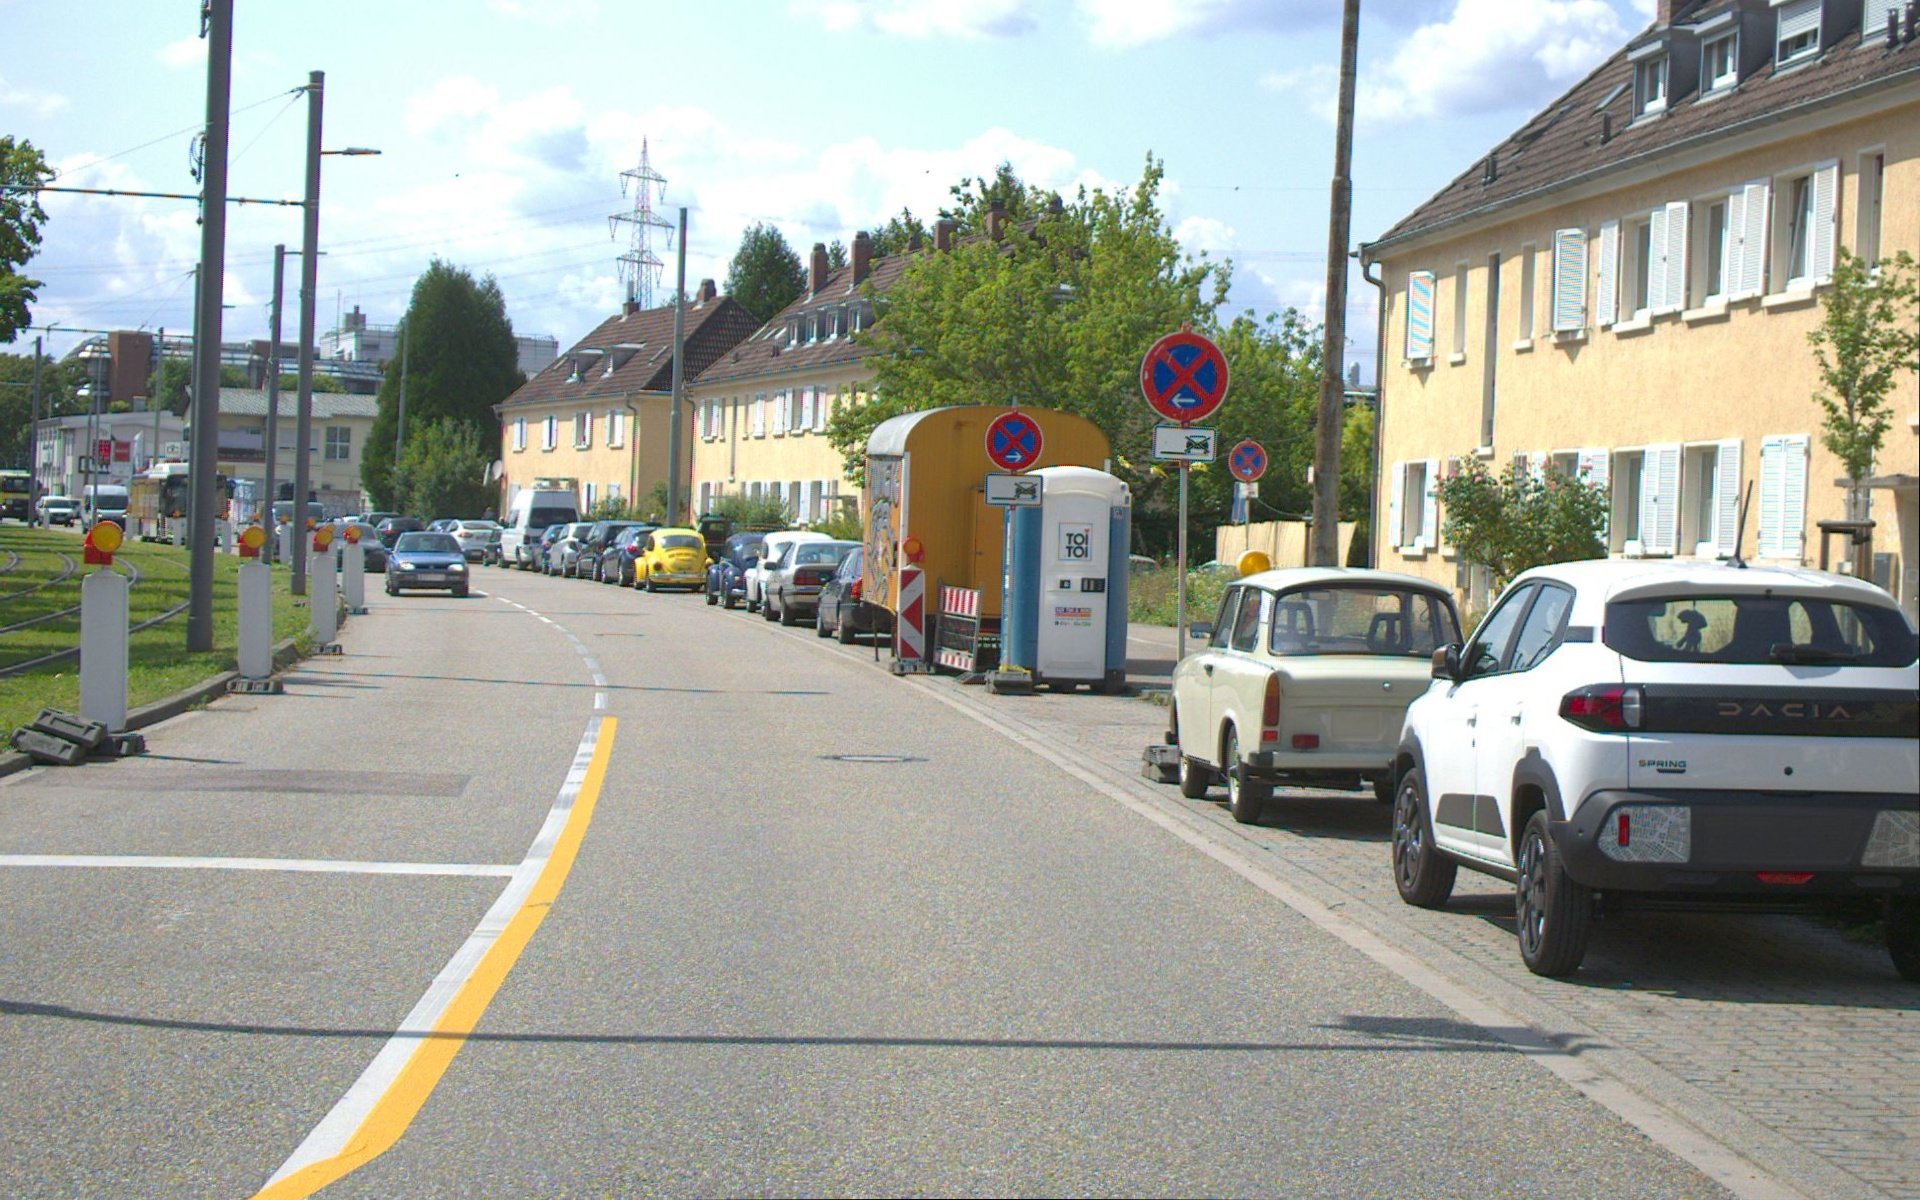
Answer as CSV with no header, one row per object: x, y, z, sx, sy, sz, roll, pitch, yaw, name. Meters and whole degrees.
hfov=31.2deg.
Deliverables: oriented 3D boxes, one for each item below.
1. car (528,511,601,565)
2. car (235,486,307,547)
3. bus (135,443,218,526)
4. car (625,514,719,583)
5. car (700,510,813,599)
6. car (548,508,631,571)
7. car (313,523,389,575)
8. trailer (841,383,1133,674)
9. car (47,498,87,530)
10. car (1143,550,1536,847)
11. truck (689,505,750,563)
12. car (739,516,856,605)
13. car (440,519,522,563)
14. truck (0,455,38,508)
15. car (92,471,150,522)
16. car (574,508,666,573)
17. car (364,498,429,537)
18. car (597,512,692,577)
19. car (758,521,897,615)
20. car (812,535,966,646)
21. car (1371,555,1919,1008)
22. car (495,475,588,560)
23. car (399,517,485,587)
-11.404,-1.804,98.898,1.535,1.440,3.738,2,1,-15,car
-23.045,-2.800,114.909,1.955,1.959,5.295,1,2,-15,car
-33.658,-4.938,147.381,2.635,3.400,12.253,0,2,-17,bus
-6.727,-1.213,80.022,1.636,1.477,3.933,-1,3,-13,car
-4.041,-0.914,67.744,1.548,1.635,4.248,2,1,-12,car
-10.176,-1.682,94.156,1.635,1.597,4.031,2,1,-15,car
-17.460,-1.470,98.421,1.724,1.384,4.123,2,1,-15,car
0.226,-0.872,41.538,2.689,3.215,5.083,2,1,-8,trailer
-51.939,-5.010,199.869,1.734,1.767,4.310,2,1,-21,car
2.092,0.488,19.997,1.463,1.497,4.110,1,1,-5,car
-7.226,-1.988,103.041,1.346,1.683,2.442,1,1,-15,truck
-2.995,-0.743,62.708,1.577,1.507,4.461,2,1,-9,car
-16.253,-2.023,116.427,1.798,1.453,4.767,0,1,-20,car
-62.929,-7.898,228.301,2.559,3.447,7.152,0,2,-21,truck
-42.170,-5.215,172.713,2.102,2.435,5.573,2,1,-21,car
-8.976,-1.584,90.412,1.635,1.597,3.933,2,1,-17,car
-21.311,-3.120,129.860,1.763,1.412,4.001,0,2,-19,car
-7.821,-1.379,84.961,1.635,1.477,4.126,2,1,-15,car
-2.274,-0.568,57.663,1.706,1.444,4.836,2,1,-9,car
-1.075,-0.167,49.817,1.577,1.444,4.455,2,1,-9,car
2.702,0.589,13.458,1.527,1.476,3.810,1,1,-3,car
-12.717,-2.519,104.085,1.928,2.472,5.520,1,1,-16,car
-11.319,-1.071,74.993,1.665,1.444,3.961,-1,2,-11,car
